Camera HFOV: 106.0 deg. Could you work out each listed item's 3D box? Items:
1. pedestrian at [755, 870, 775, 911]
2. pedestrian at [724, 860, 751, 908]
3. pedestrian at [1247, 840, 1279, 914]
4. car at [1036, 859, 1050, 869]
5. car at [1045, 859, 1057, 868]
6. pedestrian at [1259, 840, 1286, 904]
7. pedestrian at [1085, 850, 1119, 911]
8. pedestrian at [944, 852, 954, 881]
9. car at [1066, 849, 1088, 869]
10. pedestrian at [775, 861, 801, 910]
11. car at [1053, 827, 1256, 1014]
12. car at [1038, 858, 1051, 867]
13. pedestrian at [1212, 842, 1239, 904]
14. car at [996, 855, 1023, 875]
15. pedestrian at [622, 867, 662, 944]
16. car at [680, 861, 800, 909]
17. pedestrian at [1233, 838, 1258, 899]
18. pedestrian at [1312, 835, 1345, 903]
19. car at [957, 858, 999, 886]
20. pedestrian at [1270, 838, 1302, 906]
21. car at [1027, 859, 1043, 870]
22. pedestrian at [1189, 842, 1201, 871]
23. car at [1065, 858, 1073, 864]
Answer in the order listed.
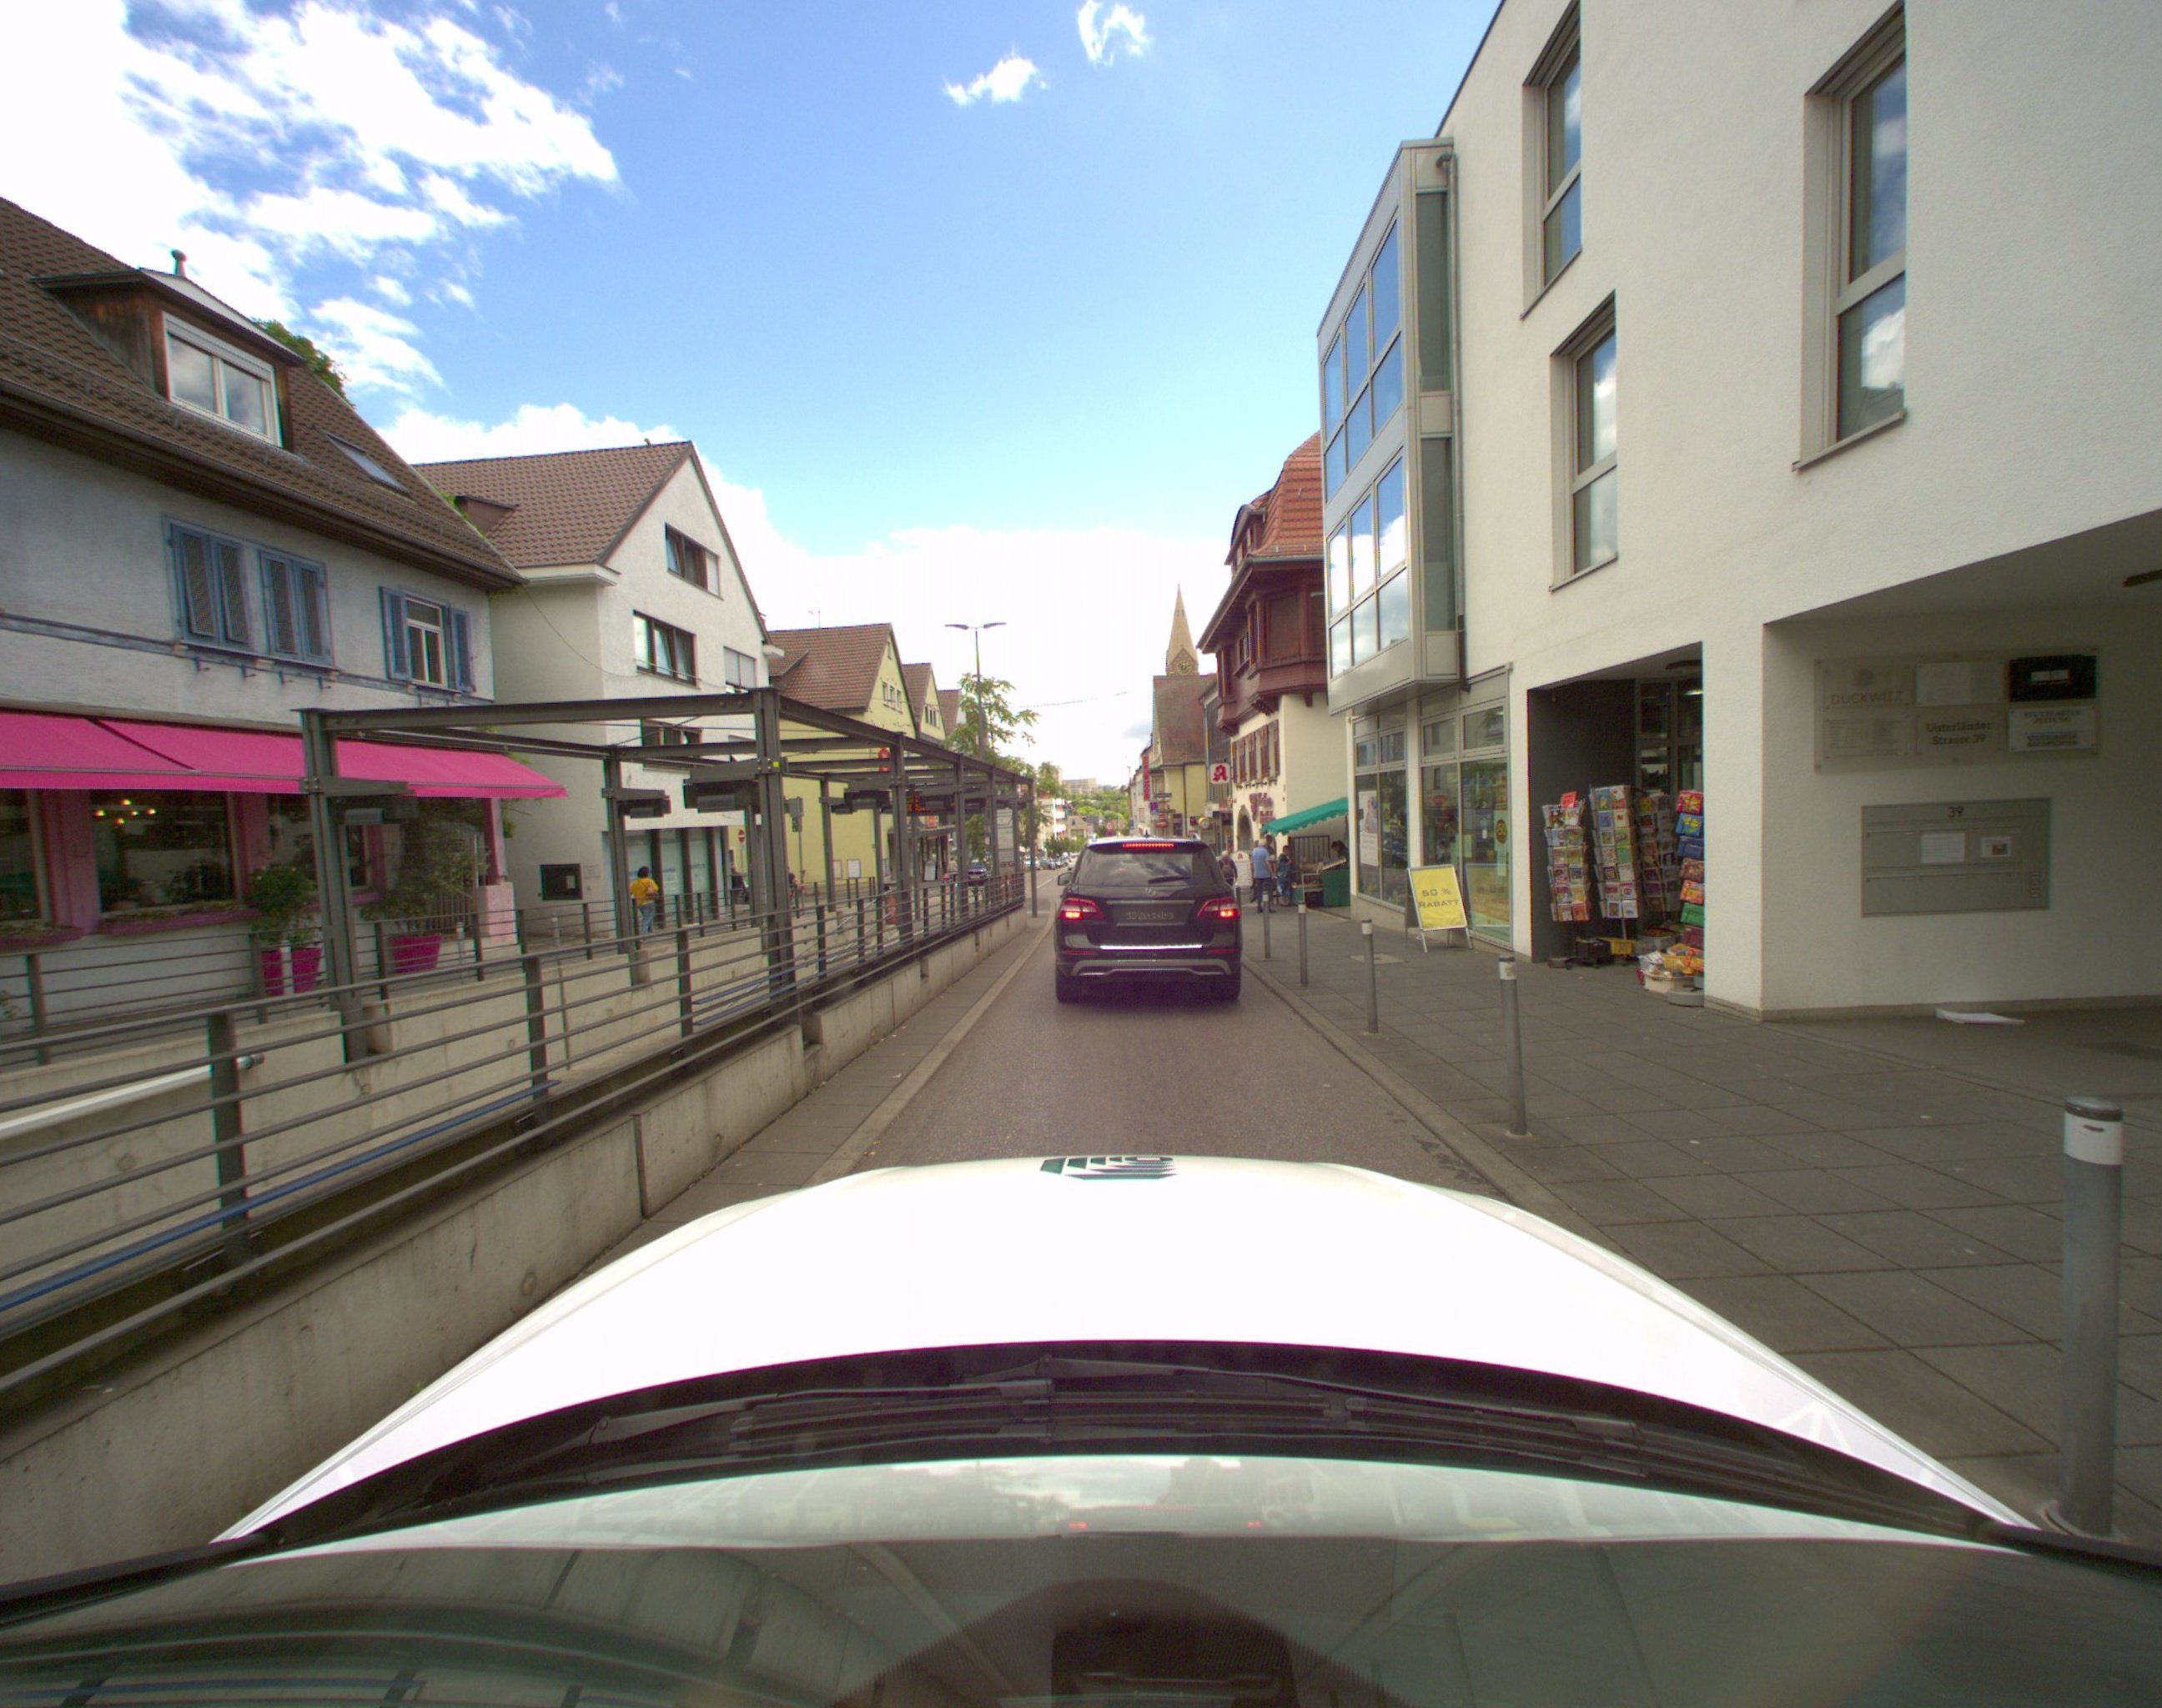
[{"bbox_3d":[-11.102,1.262,28.642,0.454,1.421,0.534,0,0,4],"label":"pedestrian"},{"bbox_3d":[-12.327,1.068,29.268,0.650,1.689,0.730,0,0,-1],"label":"pedestrian"},{"bbox_3d":[4.354,0.542,19.522,0.541,1.726,0.527,-2,0,-4],"label":"pedestrian"},{"bbox_3d":[-4.598,1.179,98.021,1.383,1.070,3.115,-3,0,2],"label":"car"},{"bbox_3d":[-4.059,1.328,111.378,1.383,1.070,3.115,-3,0,2],"label":"car"},{"bbox_3d":[5.110,0.482,21.743,0.572,1.689,0.565,0,0,-4],"label":"pedestrian"},{"bbox_3d":[0.604,0.736,23.040,0.759,1.689,0.731,0,0,17],"label":"pedestrian"},{"bbox_3d":[-7.910,0.740,48.710,0.511,1.689,0.542,0,0,1],"label":"pedestrian"},{"bbox_3d":[-0.290,0.411,71.247,1.764,1.713,4.002,0,0,2],"label":"car"},{"bbox_3d":[-10.306,1.097,28.654,0.623,1.689,0.679,0,0,1],"label":"pedestrian"},{"bbox_3d":[0.709,0.618,9.640,1.894,1.747,4.000,0,0,0],"label":"car"},{"bbox_3d":[-4.582,1.087,103.391,1.383,1.070,3.115,-3,0,2],"label":"car"},{"bbox_3d":[4.024,0.519,22.653,0.620,1.689,0.565,0,0,-5],"label":"pedestrian"},{"bbox_3d":[-5.559,0.839,63.539,1.654,1.490,3.750,0,0,2],"label":"car"},{"bbox_3d":[-9.942,1.154,18.455,0.576,1.689,0.577,0,0,1],"label":"pedestrian"},{"bbox_3d":[-13.726,1.212,32.868,4.149,1.731,1.842,1,0,15],"label":"car"},{"bbox_3d":[4.945,0.419,24.498,0.637,1.809,0.685,0,0,1],"label":"pedestrian"},{"bbox_3d":[6.307,0.371,20.801,0.572,1.689,0.565,-2,0,-4],"label":"pedestrian"},{"bbox_3d":[-5.820,0.981,46.335,1.683,1.490,3.981,0,0,2],"label":"car"},{"bbox_3d":[5.211,0.455,20.688,0.572,1.689,0.565,-2,0,-4],"label":"pedestrian"},{"bbox_3d":[-4.872,1.074,86.046,1.383,1.070,3.115,-3,0,2],"label":"car"},{"bbox_3d":[6.868,0.140,49.068,0.604,1.688,0.725,-3,0,1],"label":"pedestrian"},{"bbox_3d":[-2.434,1.459,165.172,1.383,1.070,3.115,-3,0,2],"label":"car"}]
